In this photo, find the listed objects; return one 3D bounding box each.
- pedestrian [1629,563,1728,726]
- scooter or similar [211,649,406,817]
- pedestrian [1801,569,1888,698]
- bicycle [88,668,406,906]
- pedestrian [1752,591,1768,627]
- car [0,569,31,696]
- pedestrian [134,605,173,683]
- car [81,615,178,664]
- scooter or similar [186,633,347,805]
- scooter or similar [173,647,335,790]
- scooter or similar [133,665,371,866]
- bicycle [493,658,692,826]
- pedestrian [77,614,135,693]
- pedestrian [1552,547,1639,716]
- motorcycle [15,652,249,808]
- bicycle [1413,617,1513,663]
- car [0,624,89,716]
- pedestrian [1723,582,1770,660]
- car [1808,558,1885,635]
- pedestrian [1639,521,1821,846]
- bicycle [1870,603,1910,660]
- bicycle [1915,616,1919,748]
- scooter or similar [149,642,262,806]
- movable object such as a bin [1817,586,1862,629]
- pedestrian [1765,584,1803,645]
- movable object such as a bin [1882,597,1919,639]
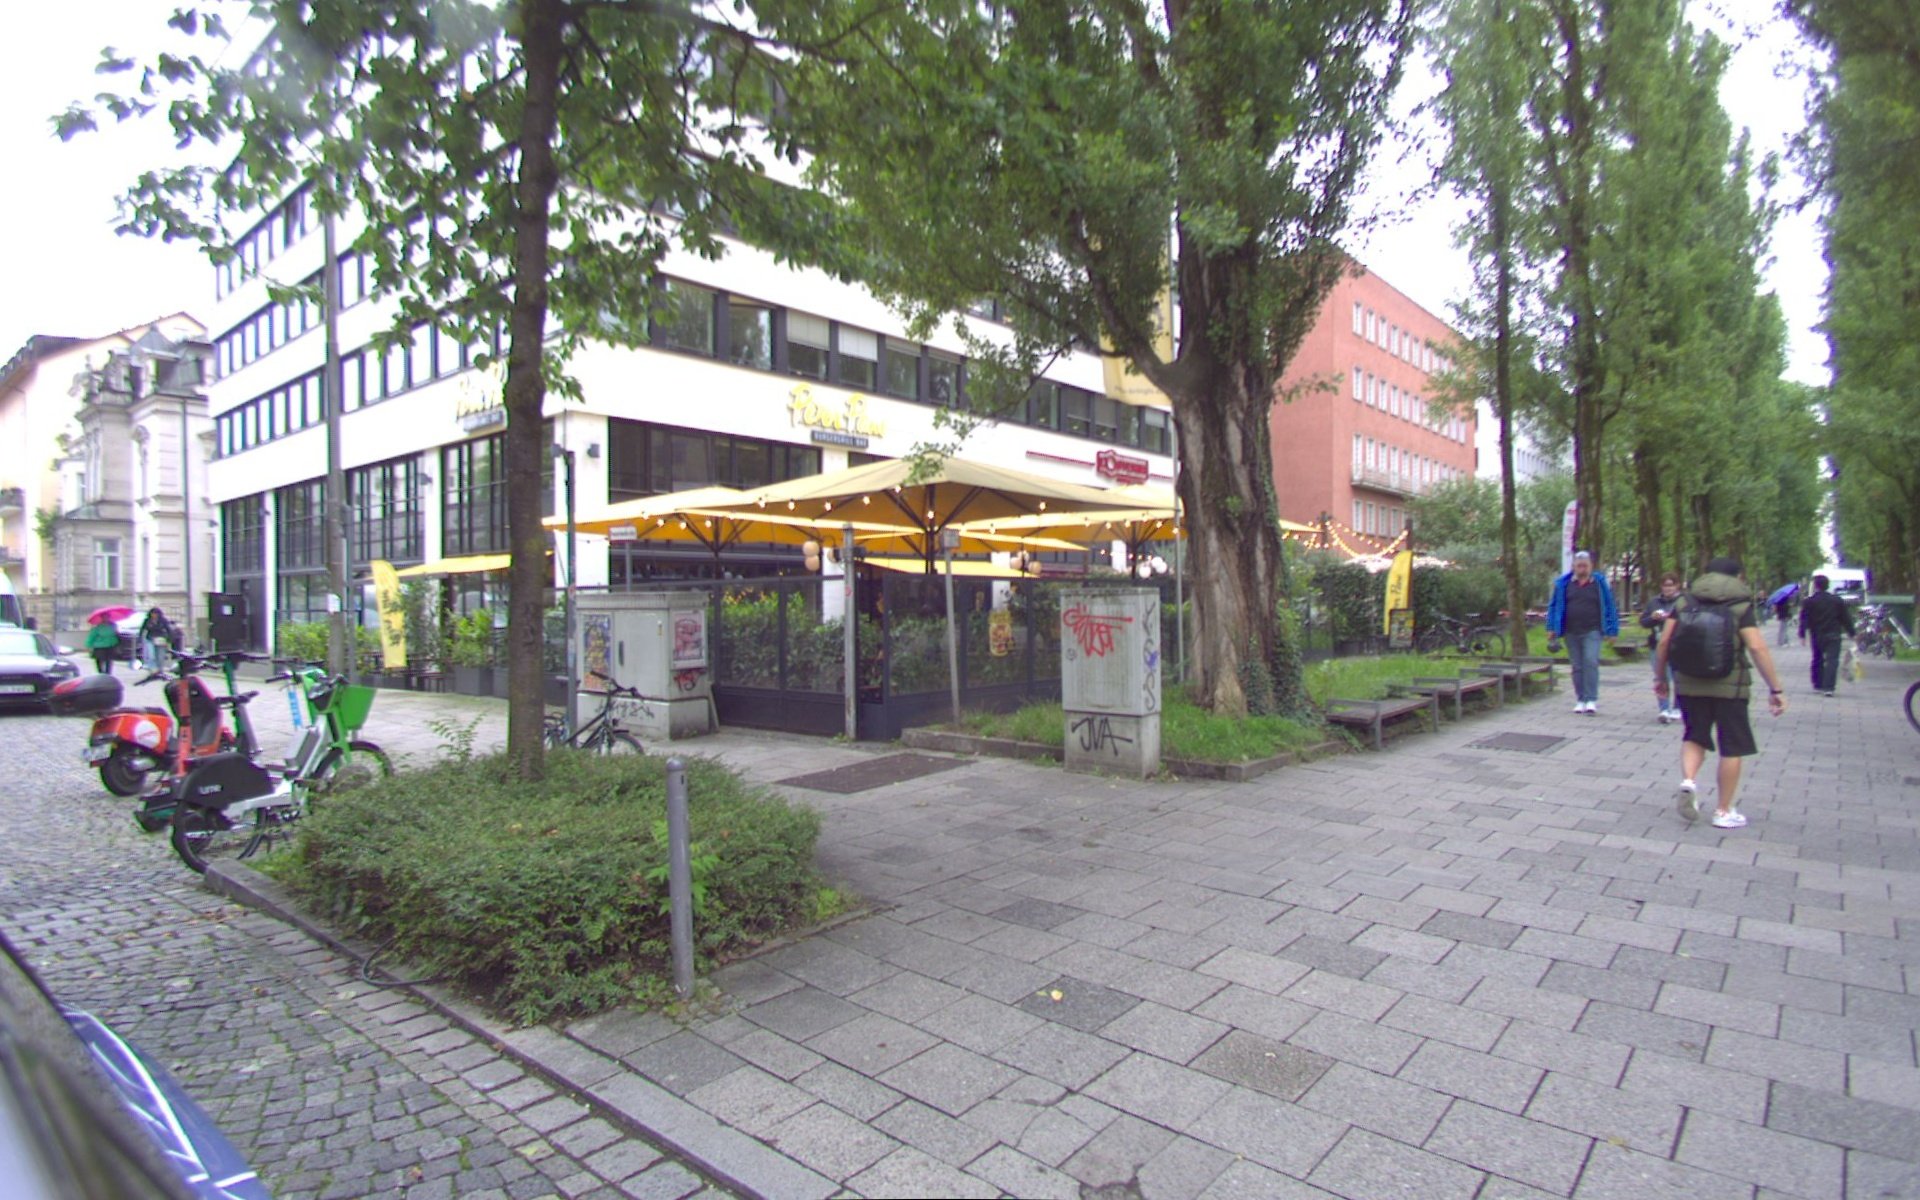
[{"bbox_3d":[7.963,0.477,11.244,0.697,1.740,0.641,-1,0,18],"label":"pedestrian"},{"bbox_3d":[-5.061,0.996,7.914,0.327,1.153,1.234,-1,0,41],"label":"scooter or similar"},{"bbox_3d":[12.325,0.446,14.138,0.857,1.724,0.946,-1,0,39],"label":"pedestrian"},{"bbox_3d":[-4.339,1.066,6.340,0.548,1.151,1.757,-1,0,10],"label":"bicycle"},{"bbox_3d":[37.874,0.408,47.927,0.514,1.705,0.505,-1,0,-45],"label":"pedestrian"},{"bbox_3d":[-21.605,0.678,21.470,5.844,2.509,2.039,-1,-1,40],"label":"car"},{"bbox_3d":[-18.549,0.993,23.273,0.650,1.761,0.568,-1,0,40],"label":"pedestrian"},{"bbox_3d":[-28.095,1.291,34.213,4.167,1.544,1.888,-1,0,41],"label":"car"},{"bbox_3d":[-5.725,0.937,8.424,0.324,1.282,1.247,-1,0,10],"label":"scooter or similar"},{"bbox_3d":[-6.182,1.024,8.869,1.237,1.189,0.389,-1,0,10],"label":"scooter or similar"},{"bbox_3d":[-4.840,1.073,7.022,0.366,1.152,1.422,-1,0,17],"label":"scooter or similar"},{"bbox_3d":[-2.718,0.973,7.393,1.761,1.030,0.546,-1,0,40],"label":"bicycle"},{"bbox_3d":[-19.391,1.188,22.984,0.800,1.719,0.916,-1,0,43],"label":"pedestrian"},{"bbox_3d":[7.499,0.364,11.974,0.697,1.922,0.641,-1,0,18],"label":"pedestrian"},{"bbox_3d":[-7.432,1.104,9.233,0.758,1.205,1.995,0,-2,-10],"label":"motorcycle"},{"bbox_3d":[10.678,0.834,21.522,1.800,0.919,0.612,-1,0,39],"label":"bicycle"},{"bbox_3d":[-16.152,1.113,16.852,4.115,1.340,1.972,-1,0,42],"label":"car"},{"bbox_3d":[17.561,0.449,22.595,0.637,1.705,0.736,-1,0,-45],"label":"pedestrian"},{"bbox_3d":[37.669,-0.147,43.144,2.198,3.040,5.921,-1,0,39],"label":"car"},{"bbox_3d":[4.621,0.457,6.074,0.695,1.786,0.753,-1,0,-44],"label":"pedestrian"},{"bbox_3d":[20.870,0.673,22.736,0.583,1.197,2.112,-1,0,41],"label":"bicycle"},{"bbox_3d":[8.743,0.752,8.777,0.583,1.197,1.594,-1,0,41],"label":"bicycle"},{"bbox_3d":[-6.572,1.027,8.865,0.322,1.282,1.361,0,-1,-15],"label":"scooter or similar"},{"bbox_3d":[28.986,0.245,33.377,1.062,1.415,0.971,-1,0,39],"label":"movable object such as a bin"},{"bbox_3d":[23.169,0.399,28.453,0.637,1.705,0.736,-1,0,-45],"label":"pedestrian"},{"bbox_3d":[30.523,0.579,32.645,1.062,1.321,0.971,-1,0,39],"label":"movable object such as a bin"}]
